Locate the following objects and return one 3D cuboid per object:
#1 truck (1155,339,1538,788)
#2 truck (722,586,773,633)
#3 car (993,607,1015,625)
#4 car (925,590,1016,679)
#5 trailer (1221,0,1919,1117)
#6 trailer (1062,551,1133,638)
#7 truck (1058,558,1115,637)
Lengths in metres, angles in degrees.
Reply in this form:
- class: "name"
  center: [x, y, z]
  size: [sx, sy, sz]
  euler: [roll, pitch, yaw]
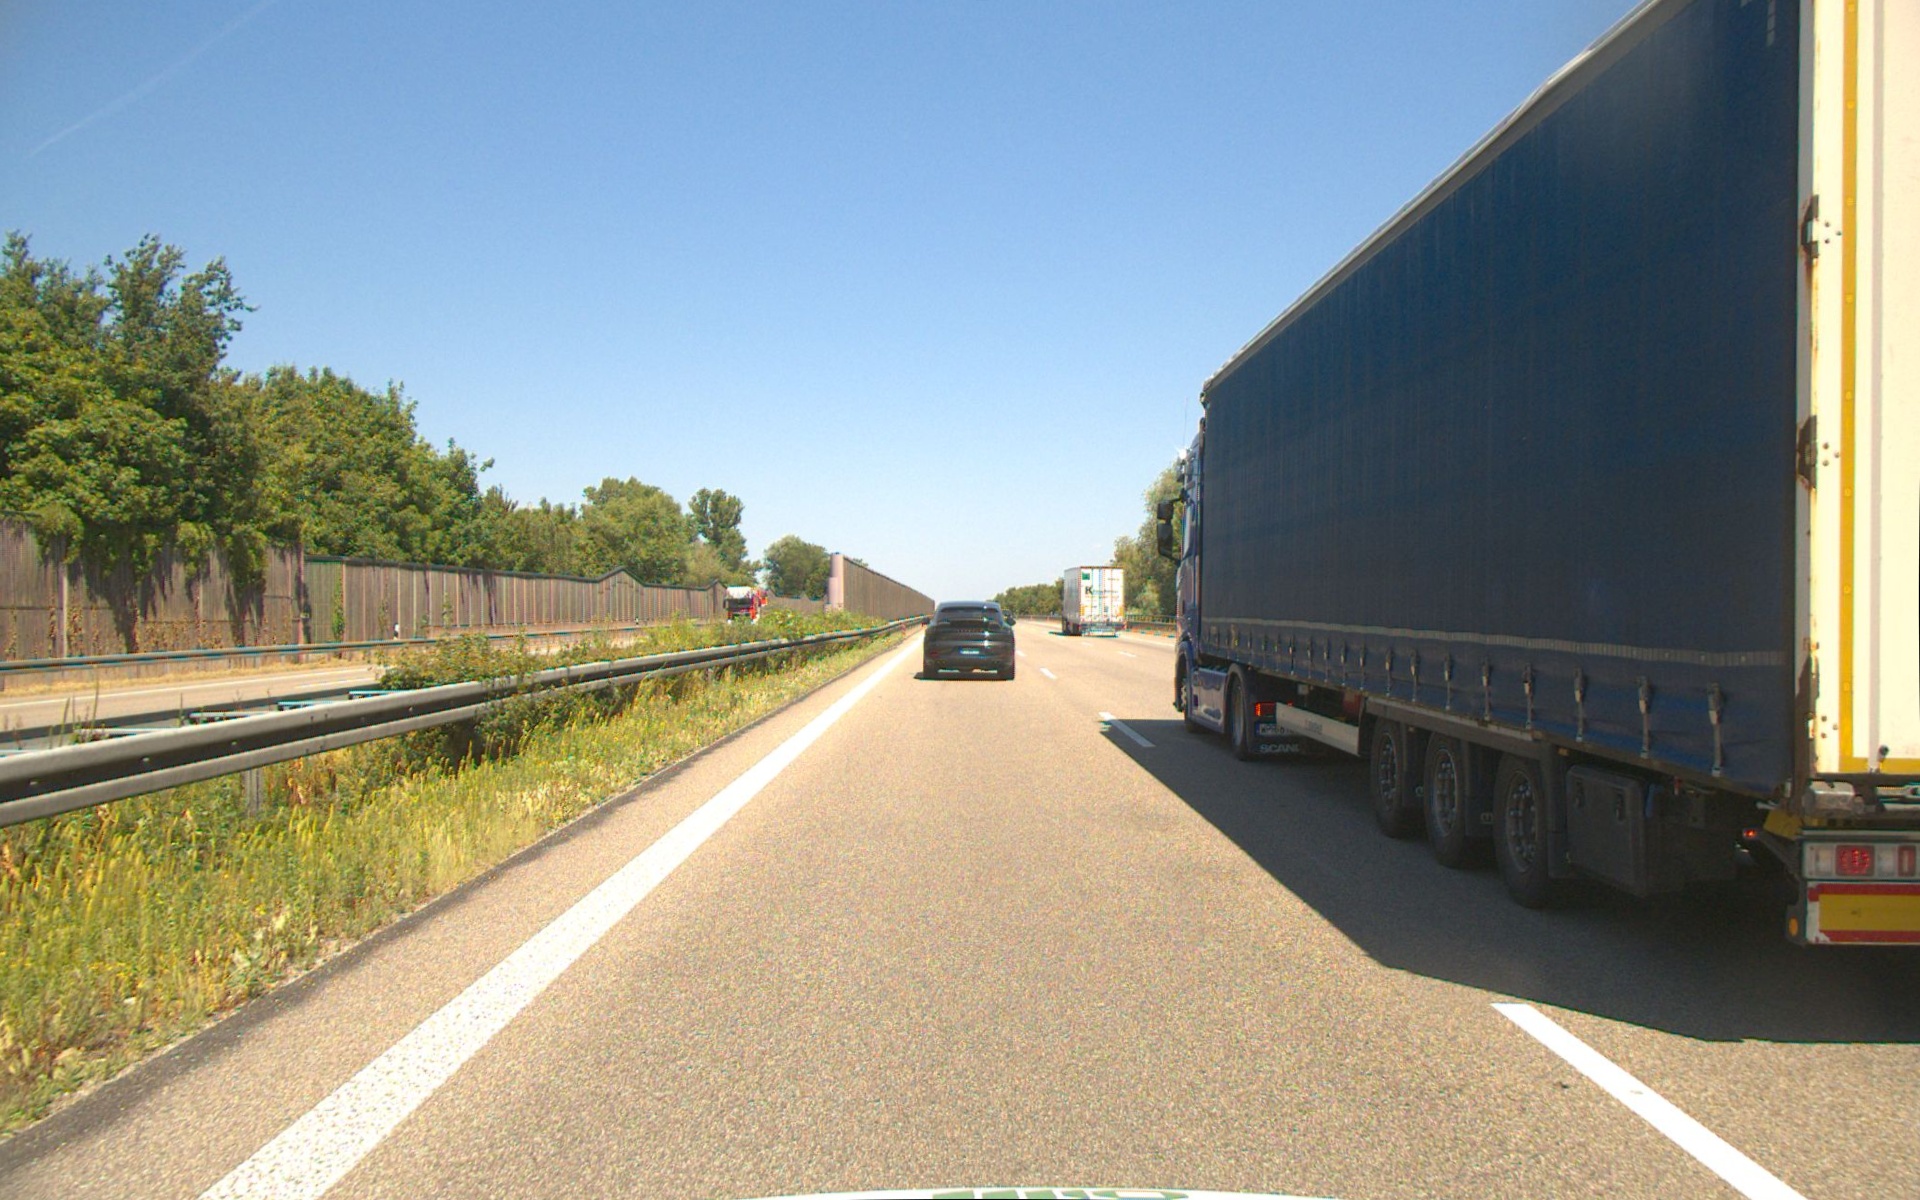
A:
- class: "truck"
  center: [4.057, -0.316, 19.075]
  size: [2.645, 4.190, 6.989]
  euler: [1, 0, -1]
- class: "truck"
  center: [-16.942, 0.789, 132.561]
  size: [2.644, 3.553, 10.853]
  euler: [1, 0, 0]
- class: "car"
  center: [3.990, 1.448, 150.453]
  size: [1.864, 1.612, 4.303]
  euler: [0, -1, 0]
- class: "car"
  center: [0.175, 0.719, 36.137]
  size: [1.842, 1.823, 3.999]
  euler: [0, 0, -2]
- class: "trailer"
  center: [4.140, -0.365, 11.467]
  size: [2.645, 4.190, 12.130]
  euler: [1, 0, 0]
- class: "trailer"
  center: [8.252, -0.243, 101.368]
  size: [3.202, 4.922, 14.028]
  euler: [1, 0, 0]
- class: "truck"
  center: [8.225, -0.111, 108.536]
  size: [3.168, 4.975, 6.971]
  euler: [1, 0, 0]
